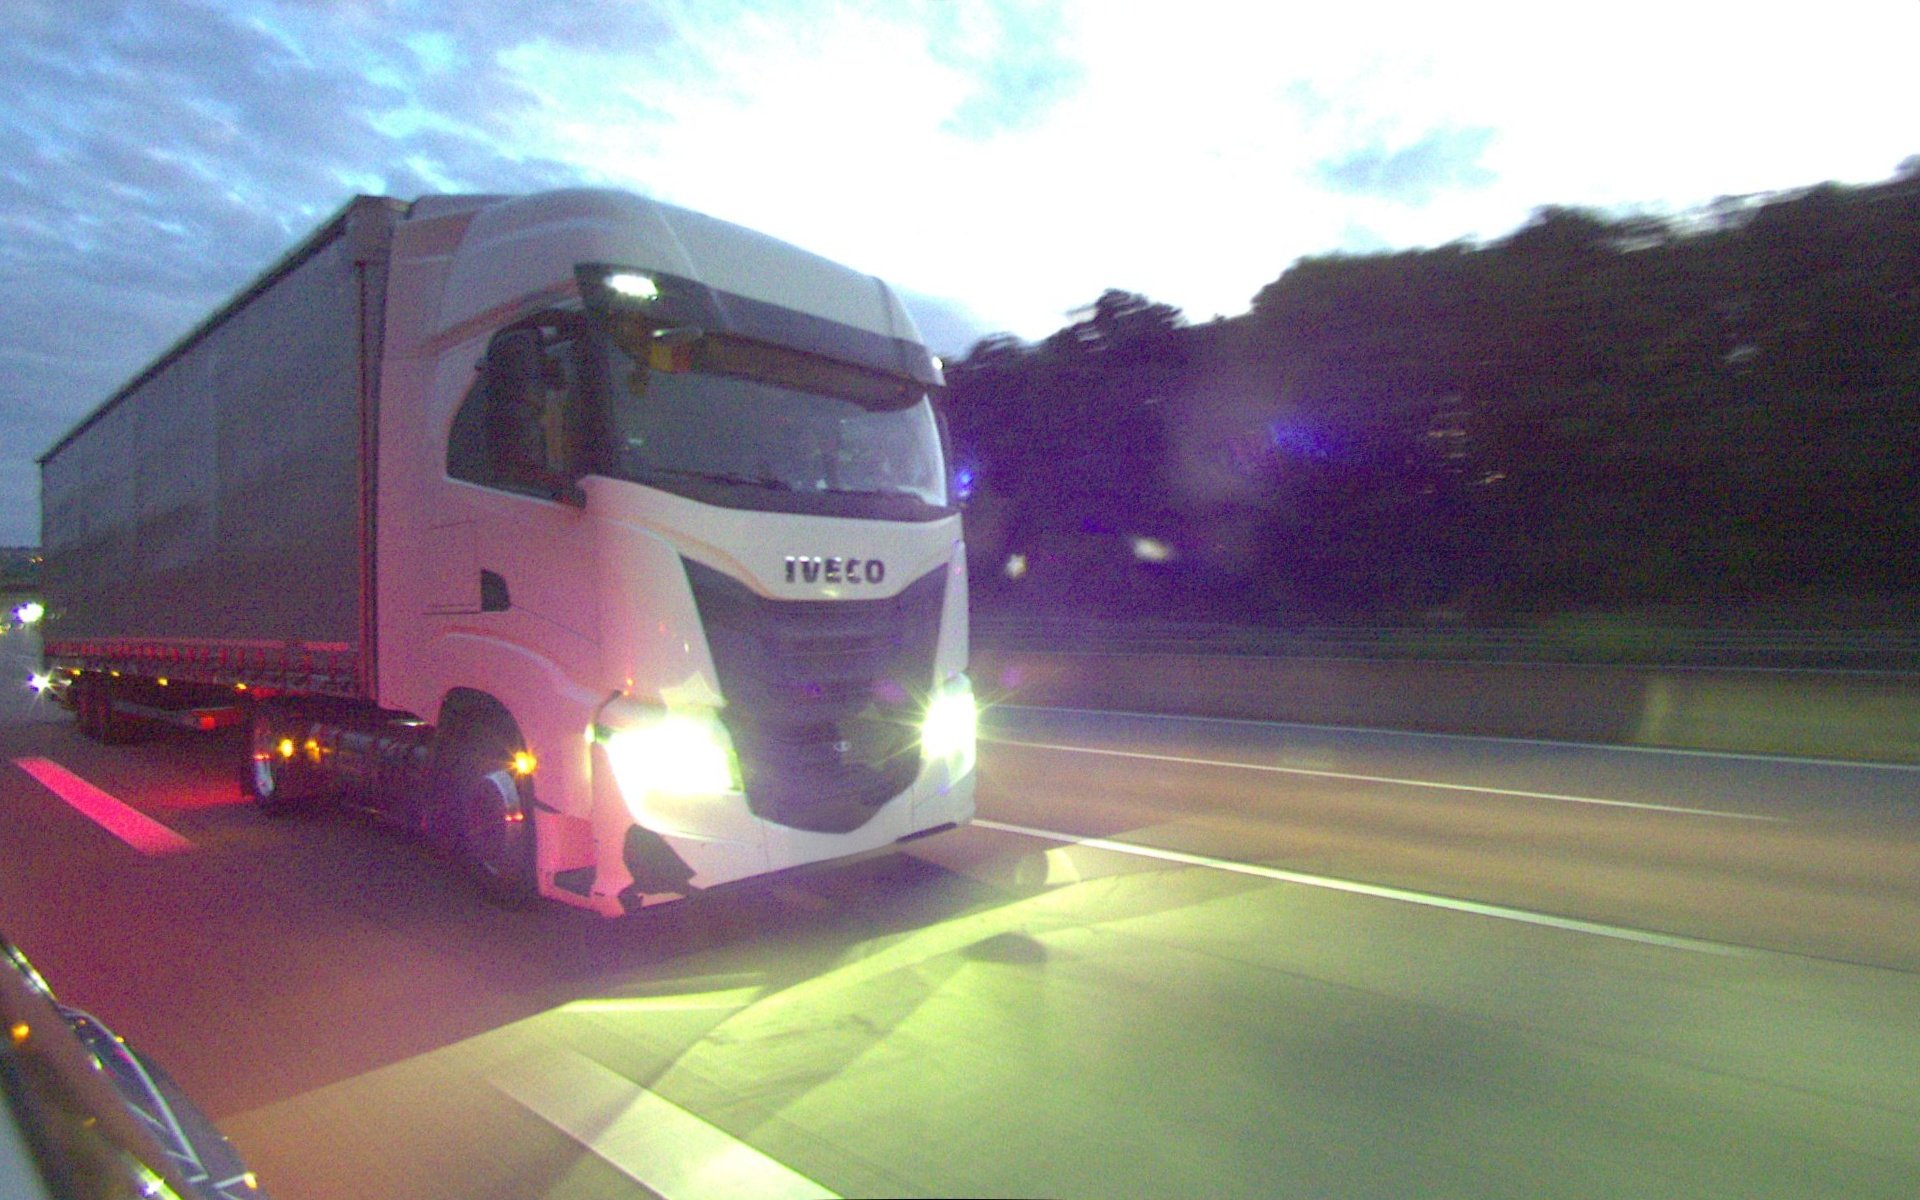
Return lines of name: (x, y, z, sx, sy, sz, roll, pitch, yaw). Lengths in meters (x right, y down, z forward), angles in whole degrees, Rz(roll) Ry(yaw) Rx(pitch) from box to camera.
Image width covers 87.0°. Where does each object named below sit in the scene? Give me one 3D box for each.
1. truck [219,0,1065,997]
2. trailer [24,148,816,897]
truck: (-2.603, -0.393, 6.962, 6.151, 3.931, 2.750, -1, -1, 41)
trailer: (-7.513, -0.289, 11.259, 14.812, 3.945, 2.745, -1, -1, 41)
